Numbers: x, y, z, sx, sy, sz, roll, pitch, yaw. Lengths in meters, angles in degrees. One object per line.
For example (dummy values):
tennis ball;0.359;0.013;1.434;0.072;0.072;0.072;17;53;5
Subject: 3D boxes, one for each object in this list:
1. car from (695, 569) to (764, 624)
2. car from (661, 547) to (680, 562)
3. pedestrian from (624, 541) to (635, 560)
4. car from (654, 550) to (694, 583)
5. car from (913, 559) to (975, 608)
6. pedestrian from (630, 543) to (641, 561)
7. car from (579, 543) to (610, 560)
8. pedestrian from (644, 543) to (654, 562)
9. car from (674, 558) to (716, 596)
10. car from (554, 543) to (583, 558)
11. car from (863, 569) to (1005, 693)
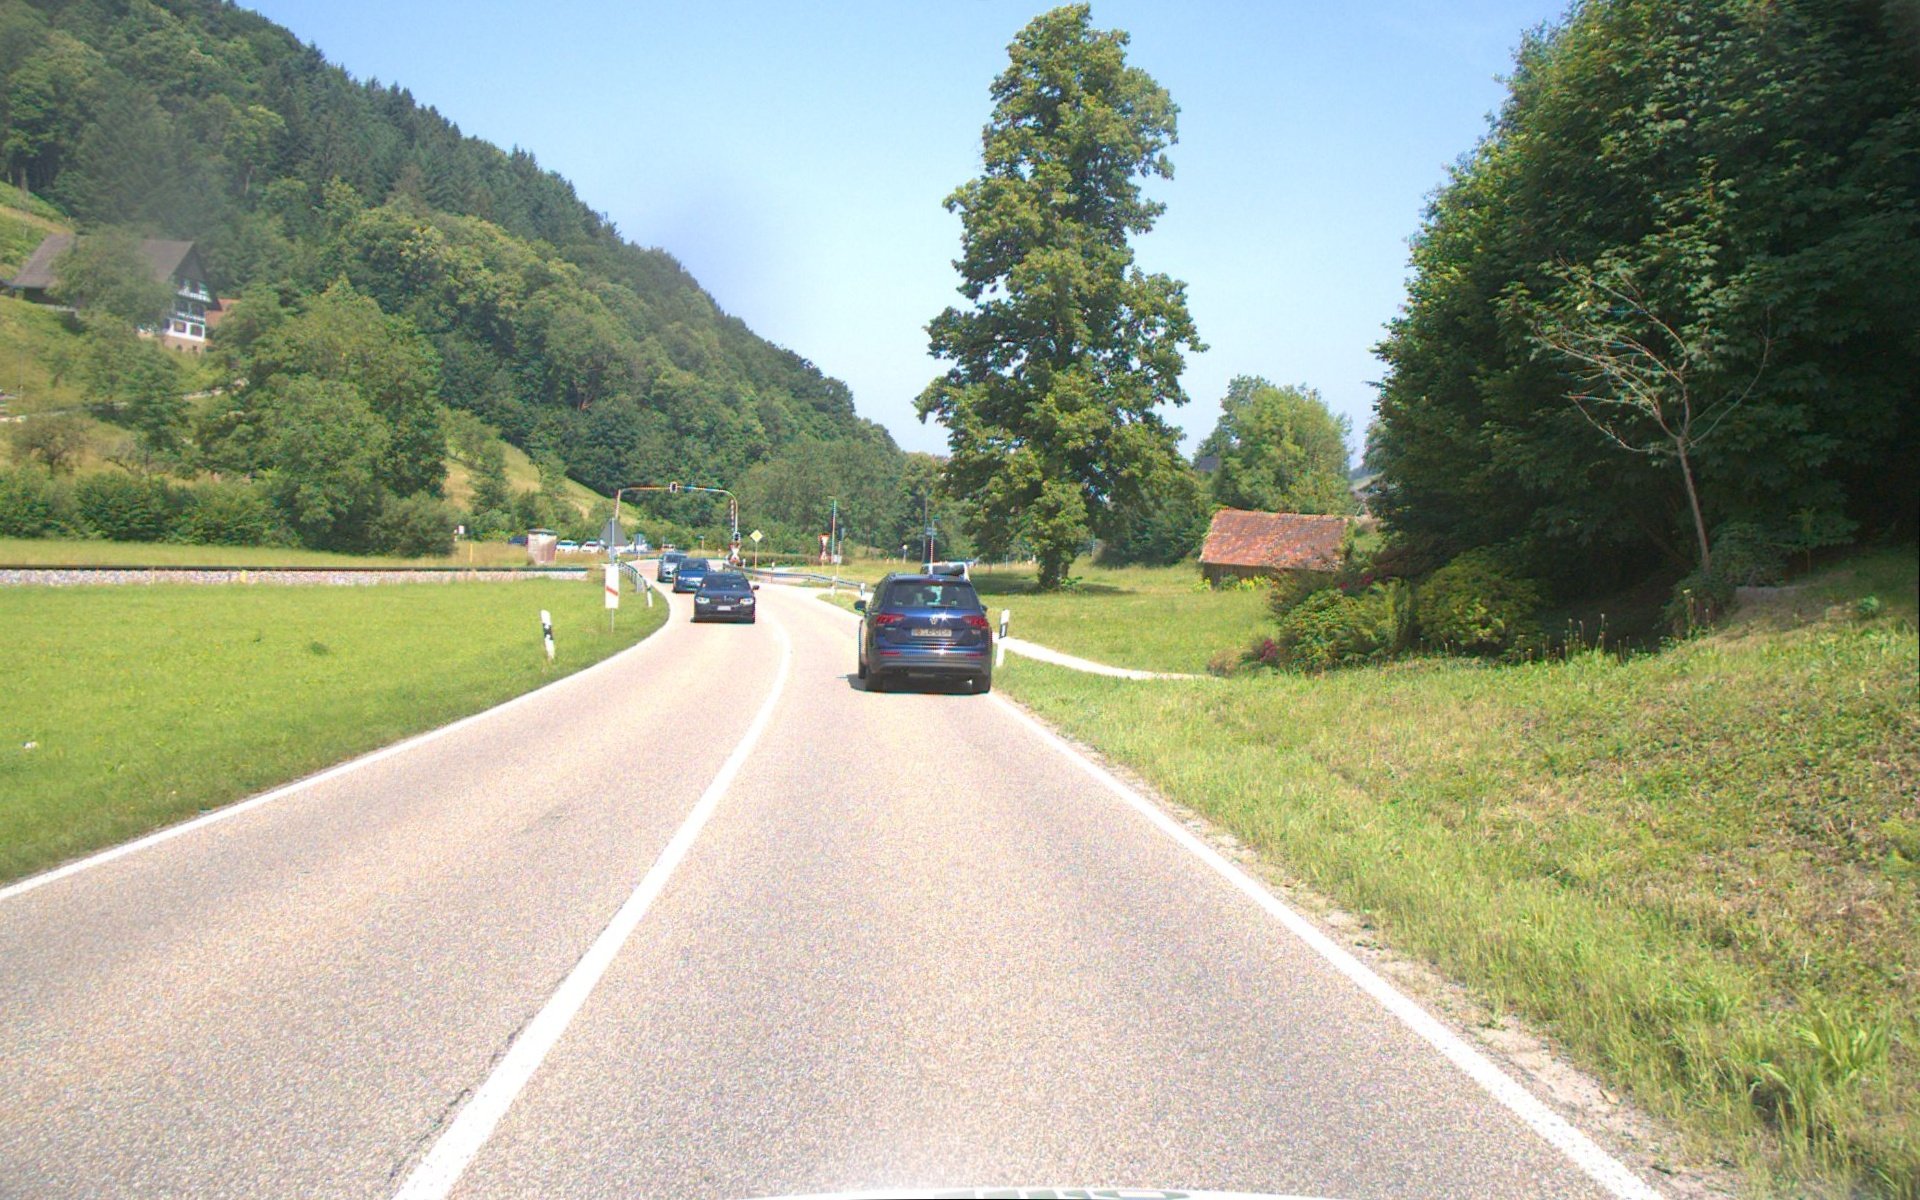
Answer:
car;-7.081;-0.135;50.498;1.882;1.496;4.500;1;1;-10
car;-29.878;-4.712;170.729;1.792;1.526;4.270;1;1;-8
pedestrian;-32.831;-4.897;164.372;0.771;1.874;0.699;2;1;12
car;-16.072;-1.875;92.727;1.883;1.744;4.145;1;2;-14
car;-0.744;-0.754;71.676;1.962;1.880;4.860;-3;2;-9
pedestrian;-32.471;-4.799;165.550;0.754;1.827;0.793;2;1;28
car;-37.897;-5.058;171.560;1.952;1.669;4.903;2;1;2
pedestrian;-31.194;-4.761;165.734;0.636;1.891;0.768;2;1;35
car;-12.681;-1.125;79.339;1.831;1.651;4.503;2;1;-8
car;-40.519;-5.121;171.249;1.953;1.526;4.522;2;1;-1
car;-0.468;0.403;24.463;1.816;1.678;4.136;0;0;-5
